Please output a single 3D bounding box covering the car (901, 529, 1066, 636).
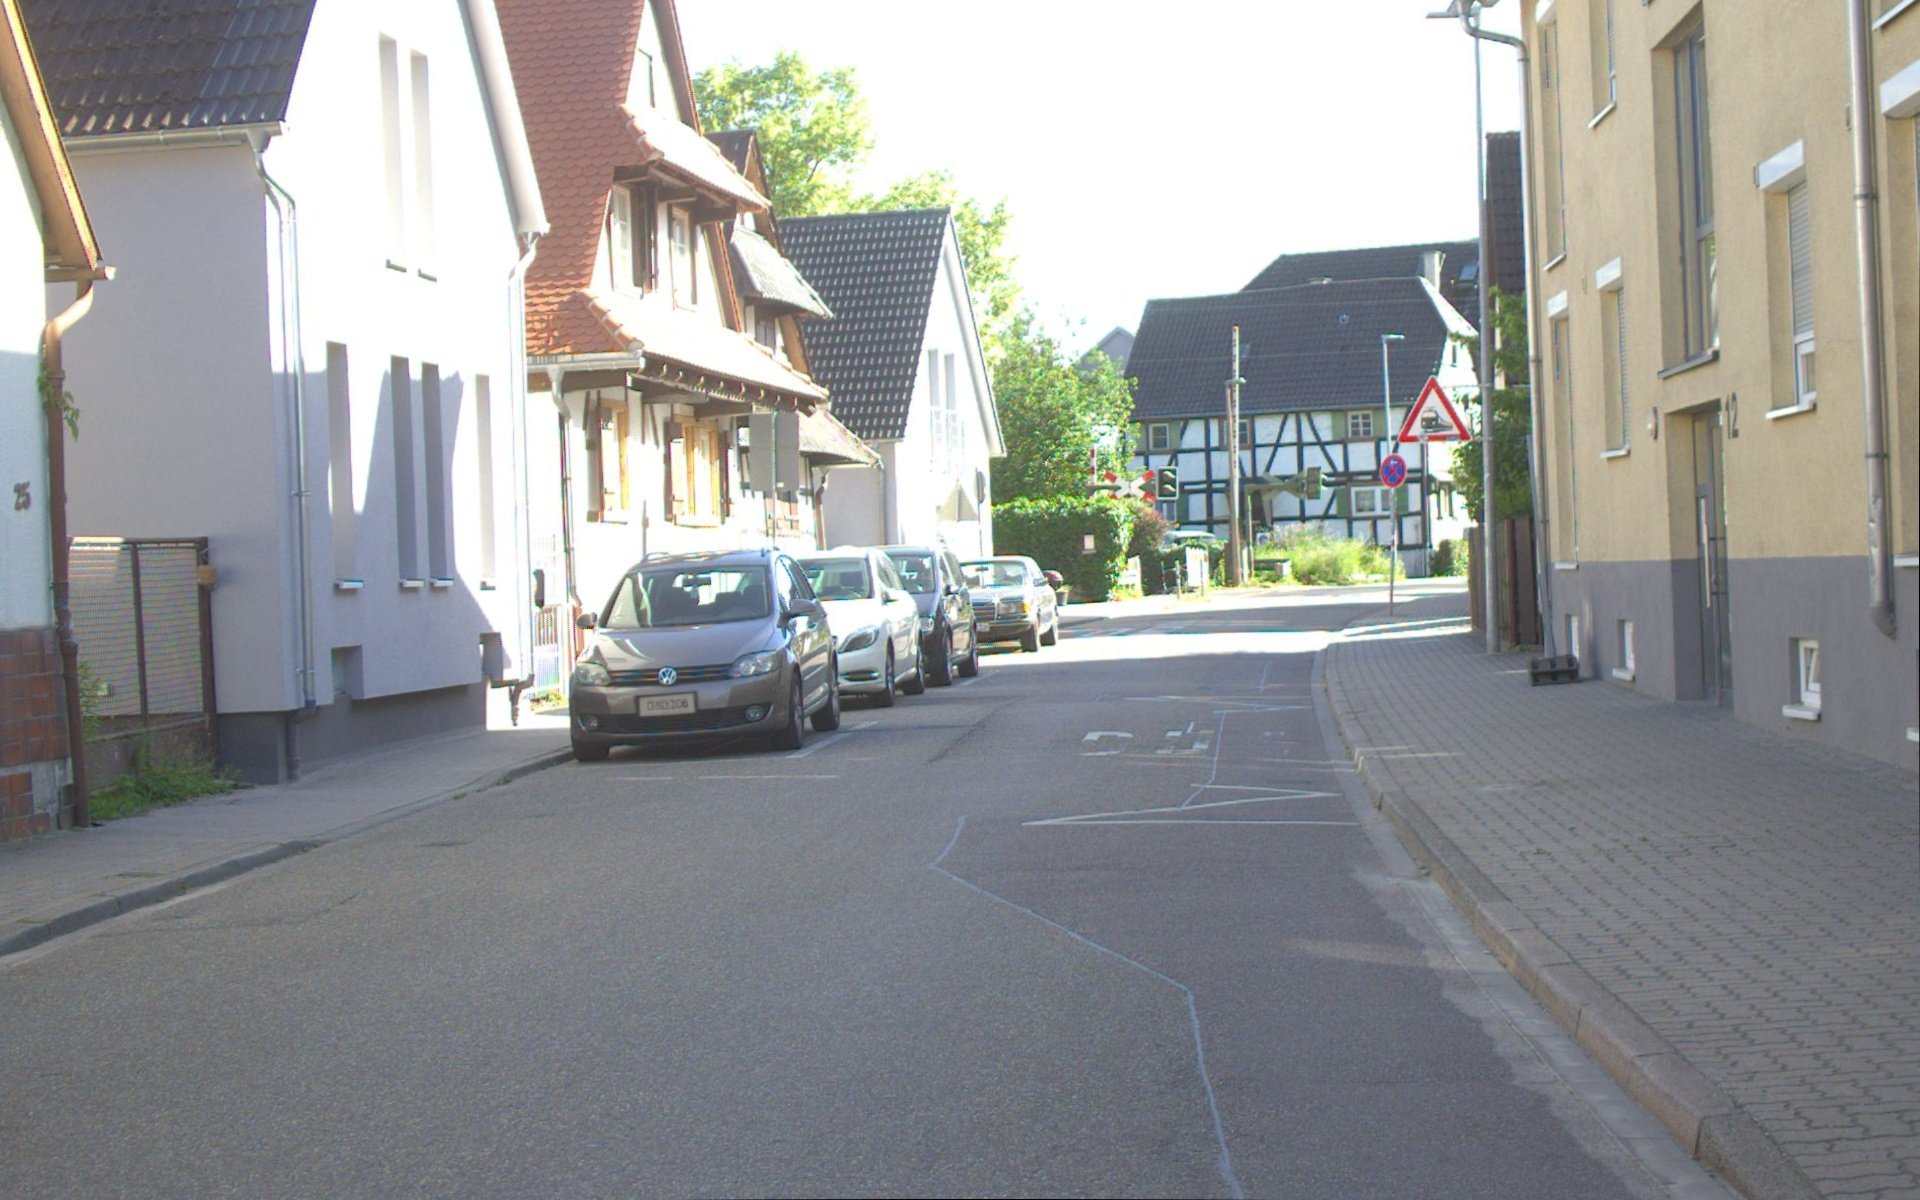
[{"bbox_3d":[0.412,-0.282,51.355,1.845,1.401,5.035,-3,0,7],"label":"car"}]

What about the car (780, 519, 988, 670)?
[{"bbox_3d":[-0.824,-0.101,40.062,1.784,1.599,4.360,-2,1,7],"label":"car"}]

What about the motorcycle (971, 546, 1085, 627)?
[{"bbox_3d":[1.081,-0.213,55.024,0.625,1.227,1.994,-4,2,-39],"label":"motorcycle"}]

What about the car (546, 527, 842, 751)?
[{"bbox_3d":[-2.061,0.269,27.727,1.742,1.608,4.000,-2,0,4],"label":"car"}]

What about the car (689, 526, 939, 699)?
[{"bbox_3d":[-1.398,0.090,34.578,1.817,1.561,4.167,-2,0,7],"label":"car"}]
